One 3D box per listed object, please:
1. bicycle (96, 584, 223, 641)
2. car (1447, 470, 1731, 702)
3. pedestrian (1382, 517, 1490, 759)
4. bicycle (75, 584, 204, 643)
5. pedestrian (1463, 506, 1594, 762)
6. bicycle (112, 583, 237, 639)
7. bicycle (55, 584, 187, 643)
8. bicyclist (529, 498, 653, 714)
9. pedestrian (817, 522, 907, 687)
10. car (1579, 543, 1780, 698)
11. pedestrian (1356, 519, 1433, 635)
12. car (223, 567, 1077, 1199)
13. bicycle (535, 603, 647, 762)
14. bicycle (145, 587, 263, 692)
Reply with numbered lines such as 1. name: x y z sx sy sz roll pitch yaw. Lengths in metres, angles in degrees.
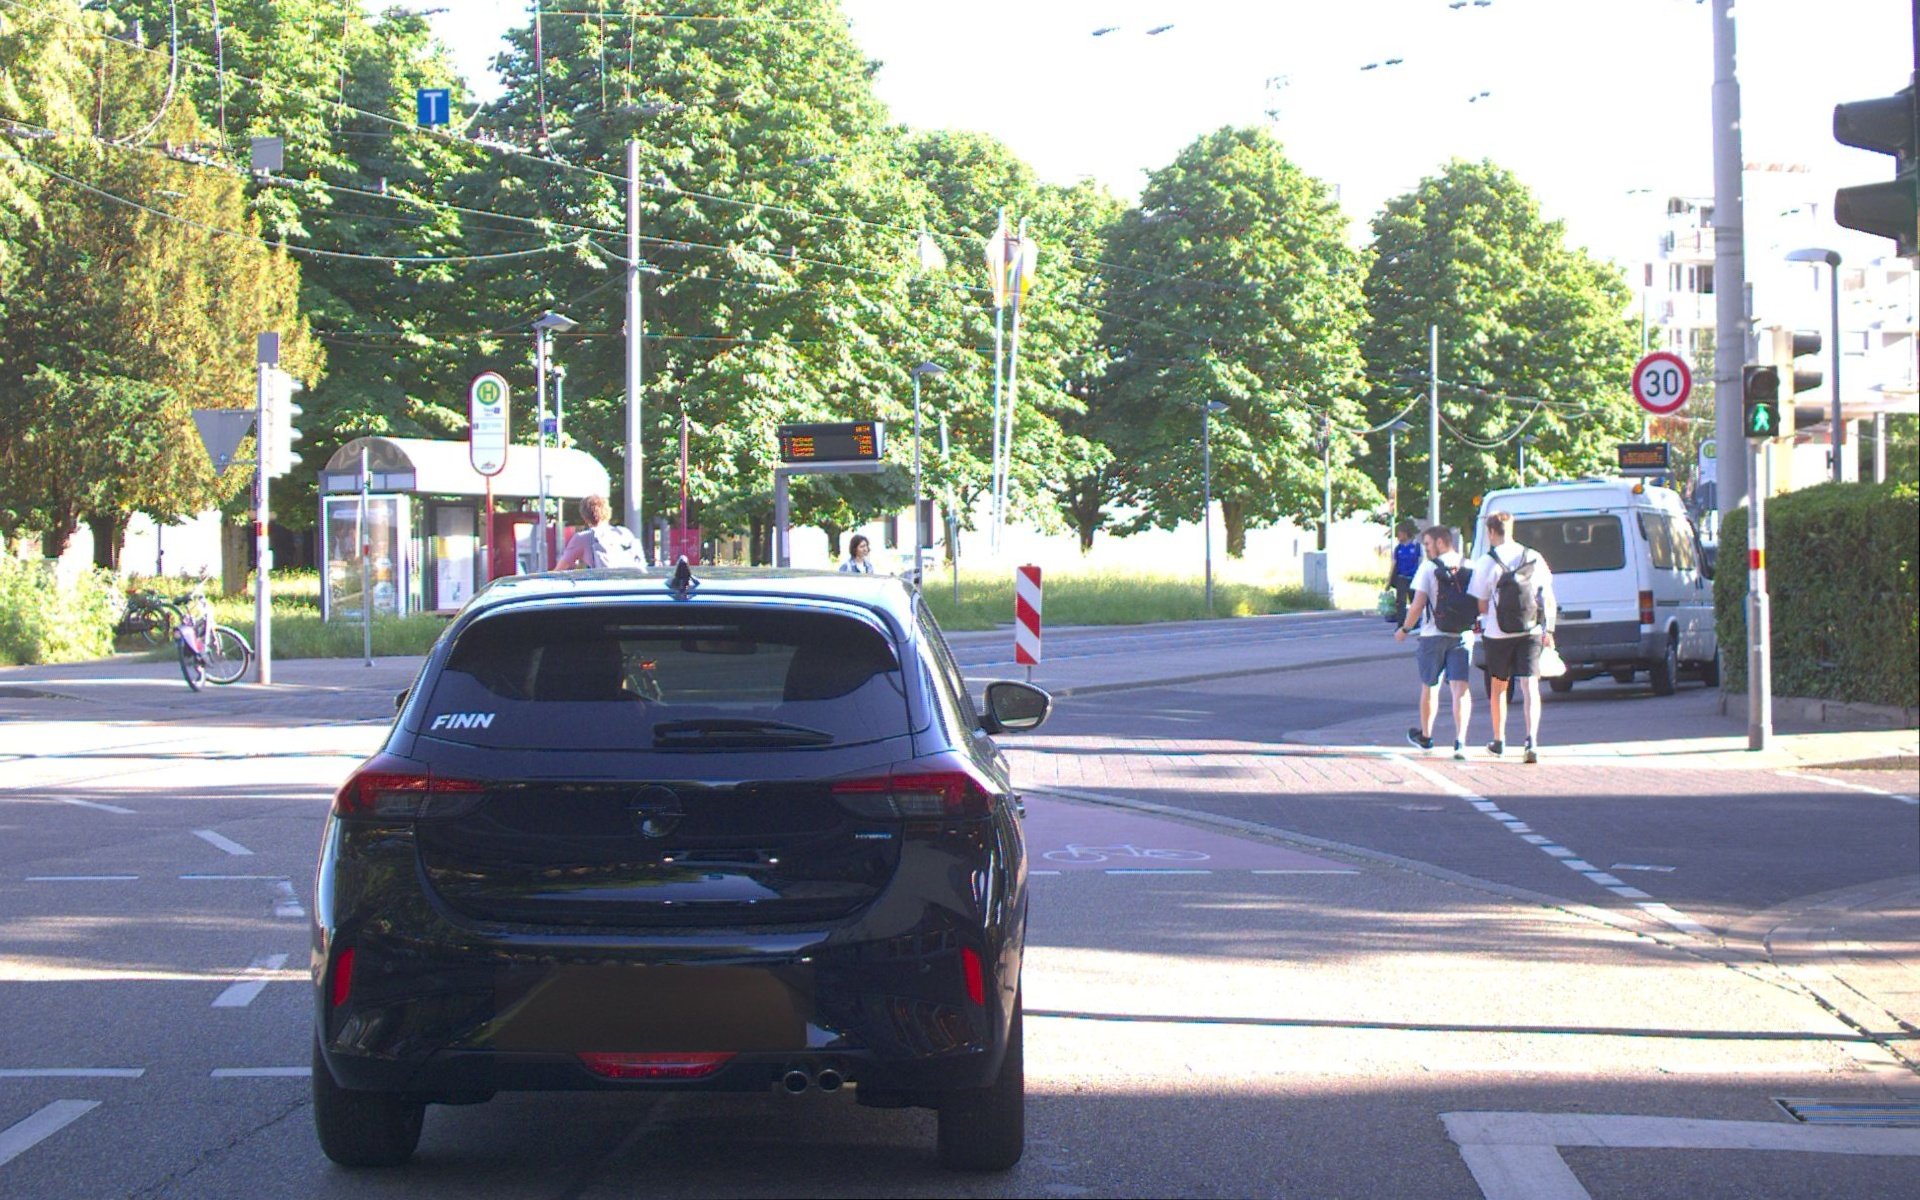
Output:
1. bicycle: -12.837 0.200 55.145 1.877 0.903 0.659 0 1 5
2. car: 6.674 -0.136 36.138 2.092 2.270 4.301 1 0 22
3. pedestrian: 3.564 0.276 25.760 0.698 1.786 0.617 0 1 -3
4. bicycle: -12.947 0.211 54.270 1.877 0.903 0.659 0 1 5
5. pedestrian: 4.175 0.238 25.242 0.704 1.840 0.699 0 1 37
6. bicycle: -12.811 0.179 56.118 1.877 0.903 0.659 0 1 5
7. bicycle: -12.998 0.209 53.282 1.877 0.903 0.659 0 1 5
8. bicyclist: -2.632 0.029 24.641 0.840 1.504 1.369 0 1 -4
9. pedestrian: -1.014 0.038 35.568 0.698 1.687 0.728 -1 1 -25
10. car: 8.693 0.203 41.334 1.802 1.757 3.887 0 1 21
11. pedestrian: 6.798 -0.362 53.809 0.959 1.786 0.994 0 1 23
12. car: -0.689 0.647 9.255 1.800 1.436 3.940 0 1 -1
13. bicycle: -2.632 0.565 24.662 0.667 1.056 2.082 0 1 -3
14. bicycle: -7.949 0.405 36.239 0.825 1.056 1.883 0 1 0
